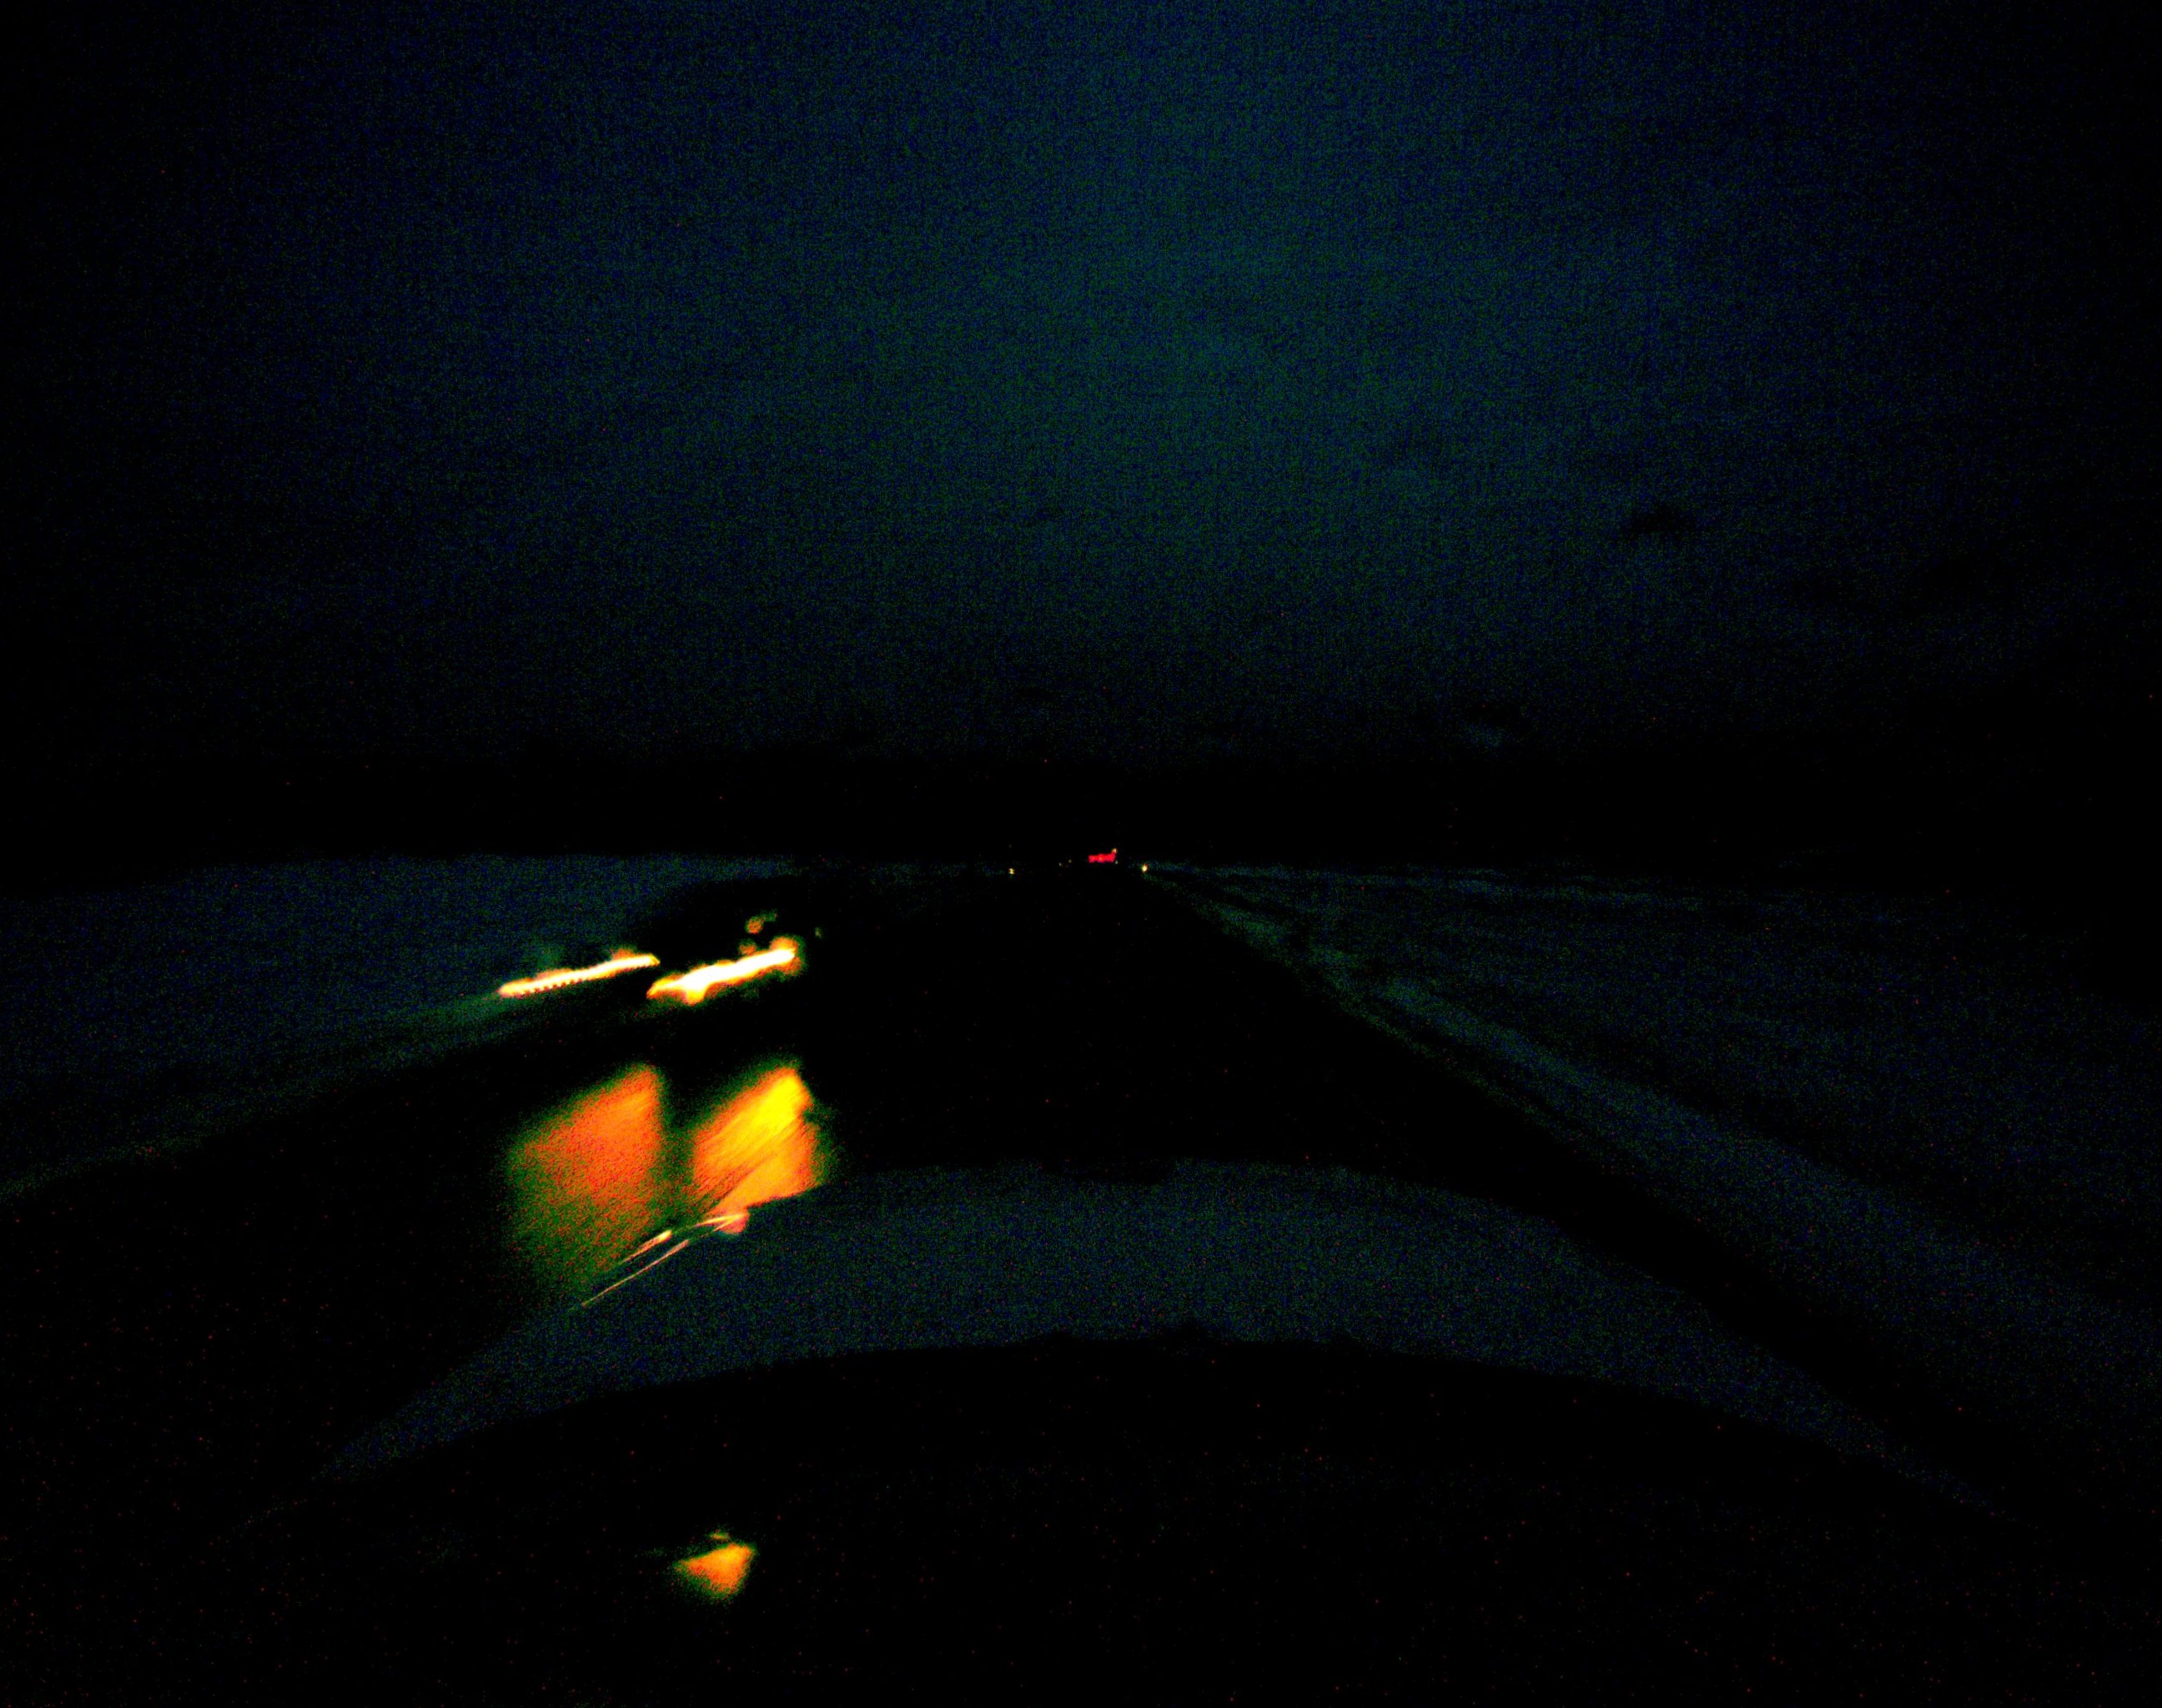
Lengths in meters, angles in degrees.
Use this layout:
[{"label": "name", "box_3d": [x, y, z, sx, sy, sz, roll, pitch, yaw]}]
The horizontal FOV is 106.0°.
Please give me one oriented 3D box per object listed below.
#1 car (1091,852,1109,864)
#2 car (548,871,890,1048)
[{"label": "car", "box_3d": [3.172, 0.646, 137.706, 1.978, 2.052, 4.018, 1, -1, 18]}, {"label": "car", "box_3d": [-3.544, 0.936, 8.965, 1.721, 1.346, 4.223, -2, 0, 2]}]
